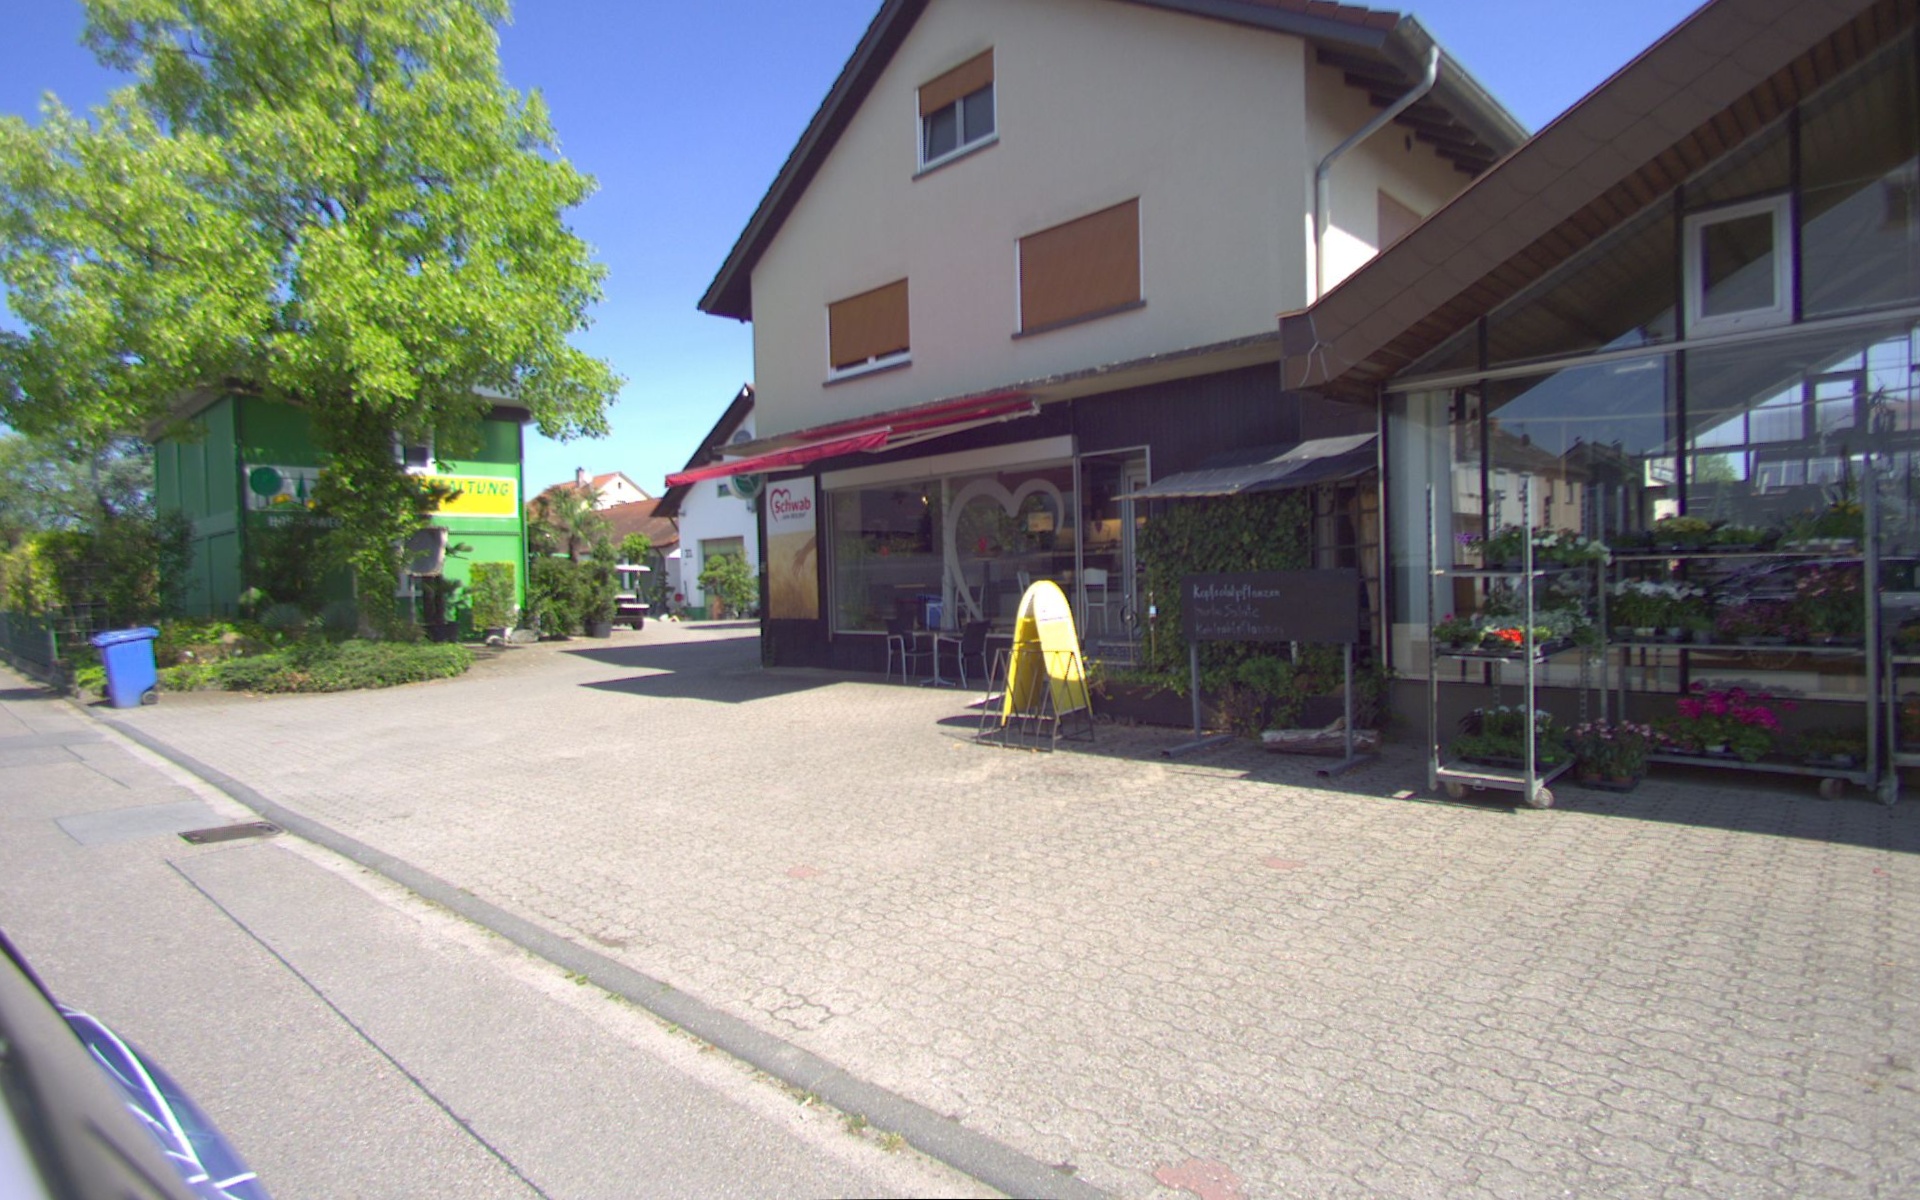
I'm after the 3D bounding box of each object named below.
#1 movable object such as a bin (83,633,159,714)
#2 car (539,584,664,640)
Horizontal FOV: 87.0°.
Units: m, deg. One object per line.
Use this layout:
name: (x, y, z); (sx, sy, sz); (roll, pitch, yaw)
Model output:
movable object such as a bin: (-11.986, 1.028, 14.453); (0.612, 1.062, 0.723); (-1, 2, 43)
car: (-10.762, 0.323, 30.264); (4.001, 1.458, 1.836); (0, 3, 44)
